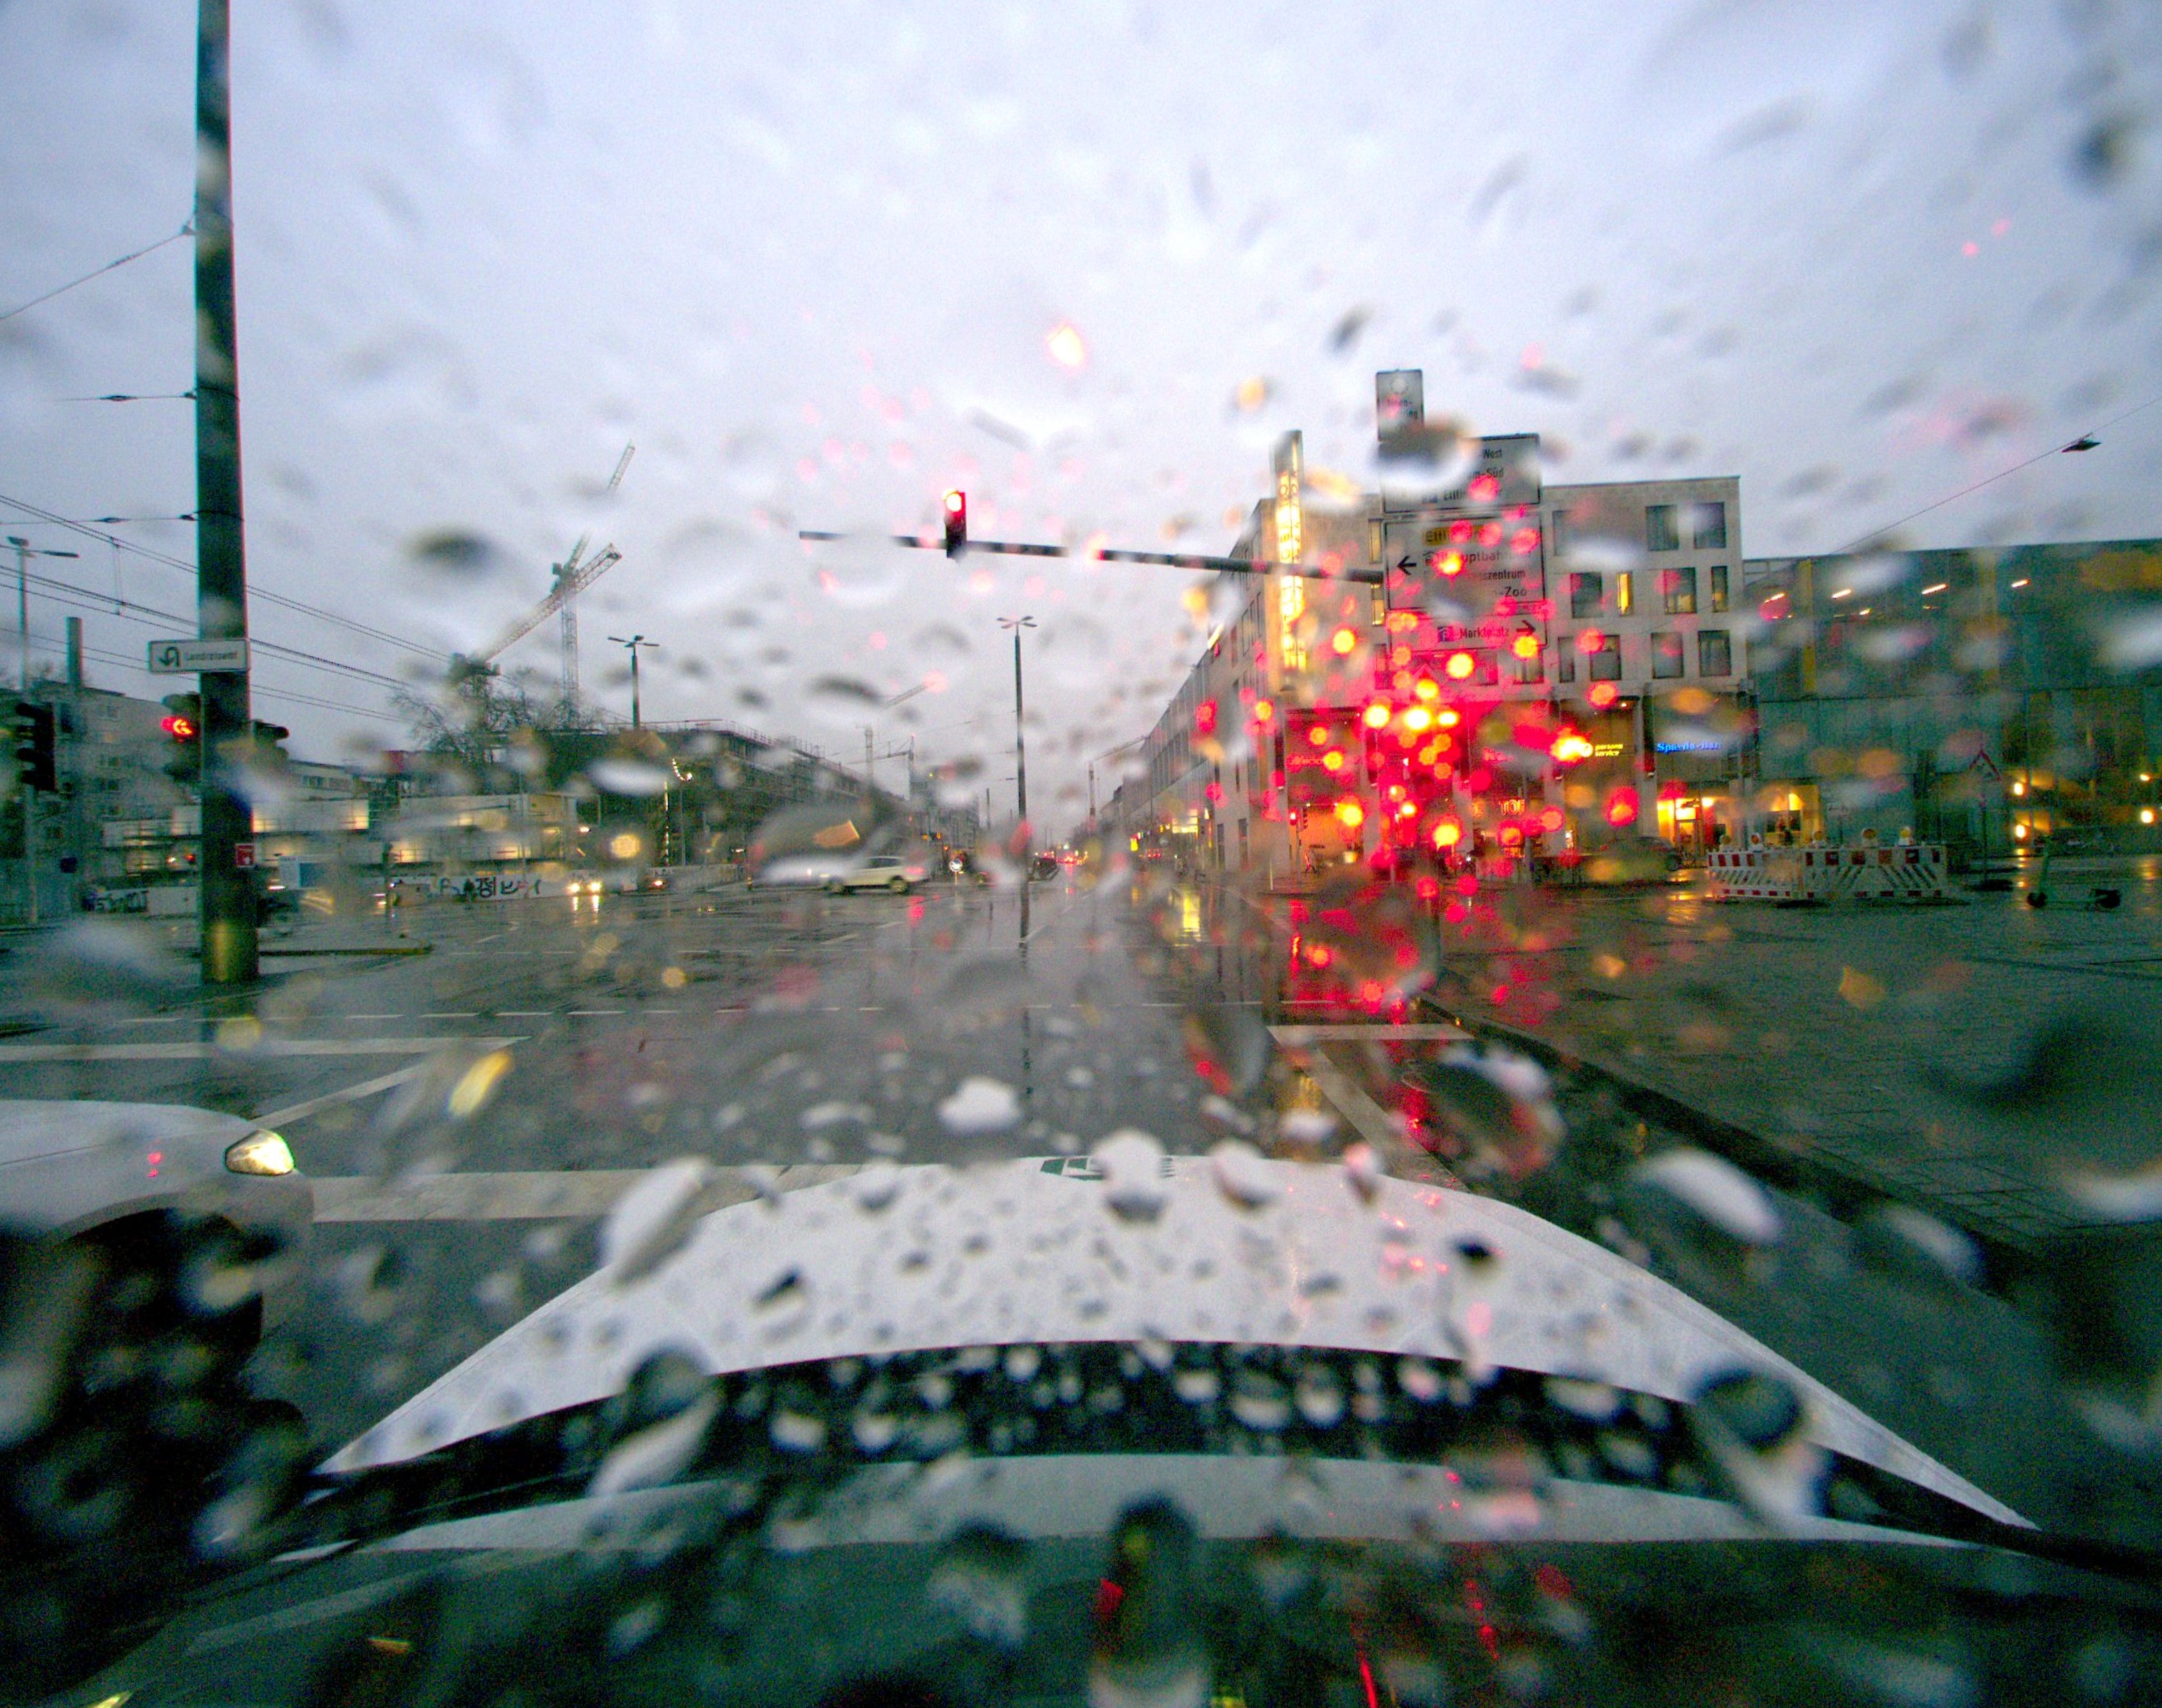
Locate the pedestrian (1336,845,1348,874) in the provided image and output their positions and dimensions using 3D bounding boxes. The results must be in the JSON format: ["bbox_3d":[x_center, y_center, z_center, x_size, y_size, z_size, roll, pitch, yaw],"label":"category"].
[{"bbox_3d":[16.039,0.338,50.041,0.530,1.718,0.505,-3,-1,39],"label":"pedestrian"}]

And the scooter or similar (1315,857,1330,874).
[{"bbox_3d":[14.087,0.656,47.494,0.738,0.993,0.400,-2,-1,2],"label":"scooter or similar"}]

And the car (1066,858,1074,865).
[{"bbox_3d":[-2.875,1.935,208.615,1.881,1.783,3.715,-1,-1,2],"label":"car"}]

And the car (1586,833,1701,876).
[{"bbox_3d":[23.289,0.025,33.797,3.558,1.582,1.676,-2,-1,-1],"label":"car"}]

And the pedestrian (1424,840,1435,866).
[{"bbox_3d":[23.603,-0.084,55.163,0.530,1.718,0.505,-3,-1,39],"label":"pedestrian"}]

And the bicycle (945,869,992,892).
[{"bbox_3d":[-5.296,1.258,38.376,2.116,0.991,0.542,-2,-3,7],"label":"bicycle"}]

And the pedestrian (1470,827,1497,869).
[{"bbox_3d":[15.512,-0.228,31.380,0.775,1.595,0.616,-2,-1,17],"label":"pedestrian"}]

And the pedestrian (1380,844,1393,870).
[{"bbox_3d":[18.440,0.155,49.160,0.530,1.543,0.505,-3,-1,39],"label":"pedestrian"}]

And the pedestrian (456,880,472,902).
[{"bbox_3d":[-43.213,2.590,57.036,0.638,1.529,0.801,-3,-1,42],"label":"pedestrian"}]

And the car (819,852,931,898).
[{"bbox_3d":[-8.799,0.879,35.001,4.288,1.761,1.707,-2,0,0],"label":"car"}]

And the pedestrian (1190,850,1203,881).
[{"bbox_3d":[6.680,0.679,46.973,0.631,1.772,0.484,-2,-1,0],"label":"pedestrian"}]

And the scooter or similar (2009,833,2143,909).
[{"bbox_3d":[15.742,0.254,12.929,0.603,1.130,1.236,-2,0,2],"label":"scooter or similar"}]

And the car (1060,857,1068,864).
[{"bbox_3d":[-4.670,1.735,221.050,1.881,1.783,3.715,-1,-1,2],"label":"car"}]

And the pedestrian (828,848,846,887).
[{"bbox_3d":[-13.258,0.722,44.199,0.691,2.087,0.606,-2,-1,-39],"label":"pedestrian"}]

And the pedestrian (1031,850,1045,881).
[{"bbox_3d":[-2.514,0.684,47.732,0.700,1.760,0.652,-2,-1,1],"label":"pedestrian"}]

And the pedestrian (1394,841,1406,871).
[{"bbox_3d":[19.229,0.107,49.048,0.510,1.760,0.374,-2,-1,1],"label":"pedestrian"}]

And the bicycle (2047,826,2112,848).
[{"bbox_3d":[48.605,-0.812,39.688,0.613,1.033,2.138,-2,0,3],"label":"bicycle"}]

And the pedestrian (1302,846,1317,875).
[{"bbox_3d":[13.333,0.371,47.517,0.738,1.667,0.400,-2,-1,2],"label":"pedestrian"}]

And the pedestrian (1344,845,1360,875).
[{"bbox_3d":[16.183,0.374,48.592,0.700,1.760,0.668,-2,-1,1],"label":"pedestrian"}]

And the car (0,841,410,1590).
[{"bbox_3d":[-3.182,0.761,0.184,1.903,1.520,4.923,-2,0,0],"label":"car"}]

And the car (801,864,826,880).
[{"bbox_3d":[-35.970,2.389,109.550,1.988,2.013,3.997,-2,0,-2],"label":"car"}]

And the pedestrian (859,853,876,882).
[{"bbox_3d":[-12.226,0.741,46.591,0.704,1.619,0.681,-2,-1,3],"label":"pedestrian"}]

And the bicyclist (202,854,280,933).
[{"bbox_3d":[-18.777,0.866,18.219,1.031,1.697,0.616,-2,-1,-5],"label":"bicyclist"}]

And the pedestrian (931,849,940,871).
[{"bbox_3d":[-11.907,0.467,66.546,0.660,1.746,0.733,-2,-1,-9],"label":"pedestrian"}]

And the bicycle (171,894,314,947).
[{"bbox_3d":[-18.711,1.478,18.203,2.369,1.033,0.616,-2,-1,-6],"label":"bicycle"}]

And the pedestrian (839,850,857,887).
[{"bbox_3d":[-12.908,0.816,45.116,0.781,2.013,0.606,-2,-1,-37],"label":"pedestrian"}]

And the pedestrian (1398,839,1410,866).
[{"bbox_3d":[20.814,-0.092,52.502,0.530,1.718,0.505,-3,-1,39],"label":"pedestrian"}]

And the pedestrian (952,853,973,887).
[{"bbox_3d":[-5.575,0.746,38.422,0.810,1.570,0.538,-2,1,8],"label":"pedestrian"}]

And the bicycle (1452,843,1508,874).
[{"bbox_3d":[15.388,0.179,31.434,1.831,1.093,0.620,-2,-1,16],"label":"bicycle"}]

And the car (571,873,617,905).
[{"bbox_3d":[-33.407,2.345,55.965,1.760,2.013,3.977,-2,0,-17],"label":"car"}]

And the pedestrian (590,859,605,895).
[{"bbox_3d":[-27.682,1.319,46.631,0.507,2.014,0.638,-2,-1,-9],"label":"pedestrian"}]

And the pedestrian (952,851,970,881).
[{"bbox_3d":[-6.898,0.666,46.730,0.827,1.679,0.620,-2,-1,3],"label":"pedestrian"}]

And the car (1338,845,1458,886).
[{"bbox_3d":[13.480,0.473,34.867,4.510,1.574,1.801,-2,0,9],"label":"car"}]

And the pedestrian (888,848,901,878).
[{"bbox_3d":[-11.200,0.526,48.944,0.617,1.746,0.612,-2,-1,-4],"label":"pedestrian"}]

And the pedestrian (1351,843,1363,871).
[{"bbox_3d":[16.887,0.182,49.824,0.530,1.718,0.505,-3,-1,39],"label":"pedestrian"}]

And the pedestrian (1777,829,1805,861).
[{"bbox_3d":[36.064,-0.457,41.371,0.791,1.631,0.709,-1,-1,1],"label":"pedestrian"}]

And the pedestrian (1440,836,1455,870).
[{"bbox_3d":[18.522,-0.042,41.140,0.530,1.685,0.552,-3,-1,39],"label":"pedestrian"}]

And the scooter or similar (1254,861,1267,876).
[{"bbox_3d":[11.274,0.914,51.158,0.738,0.916,0.401,-2,-1,3],"label":"scooter or similar"}]
